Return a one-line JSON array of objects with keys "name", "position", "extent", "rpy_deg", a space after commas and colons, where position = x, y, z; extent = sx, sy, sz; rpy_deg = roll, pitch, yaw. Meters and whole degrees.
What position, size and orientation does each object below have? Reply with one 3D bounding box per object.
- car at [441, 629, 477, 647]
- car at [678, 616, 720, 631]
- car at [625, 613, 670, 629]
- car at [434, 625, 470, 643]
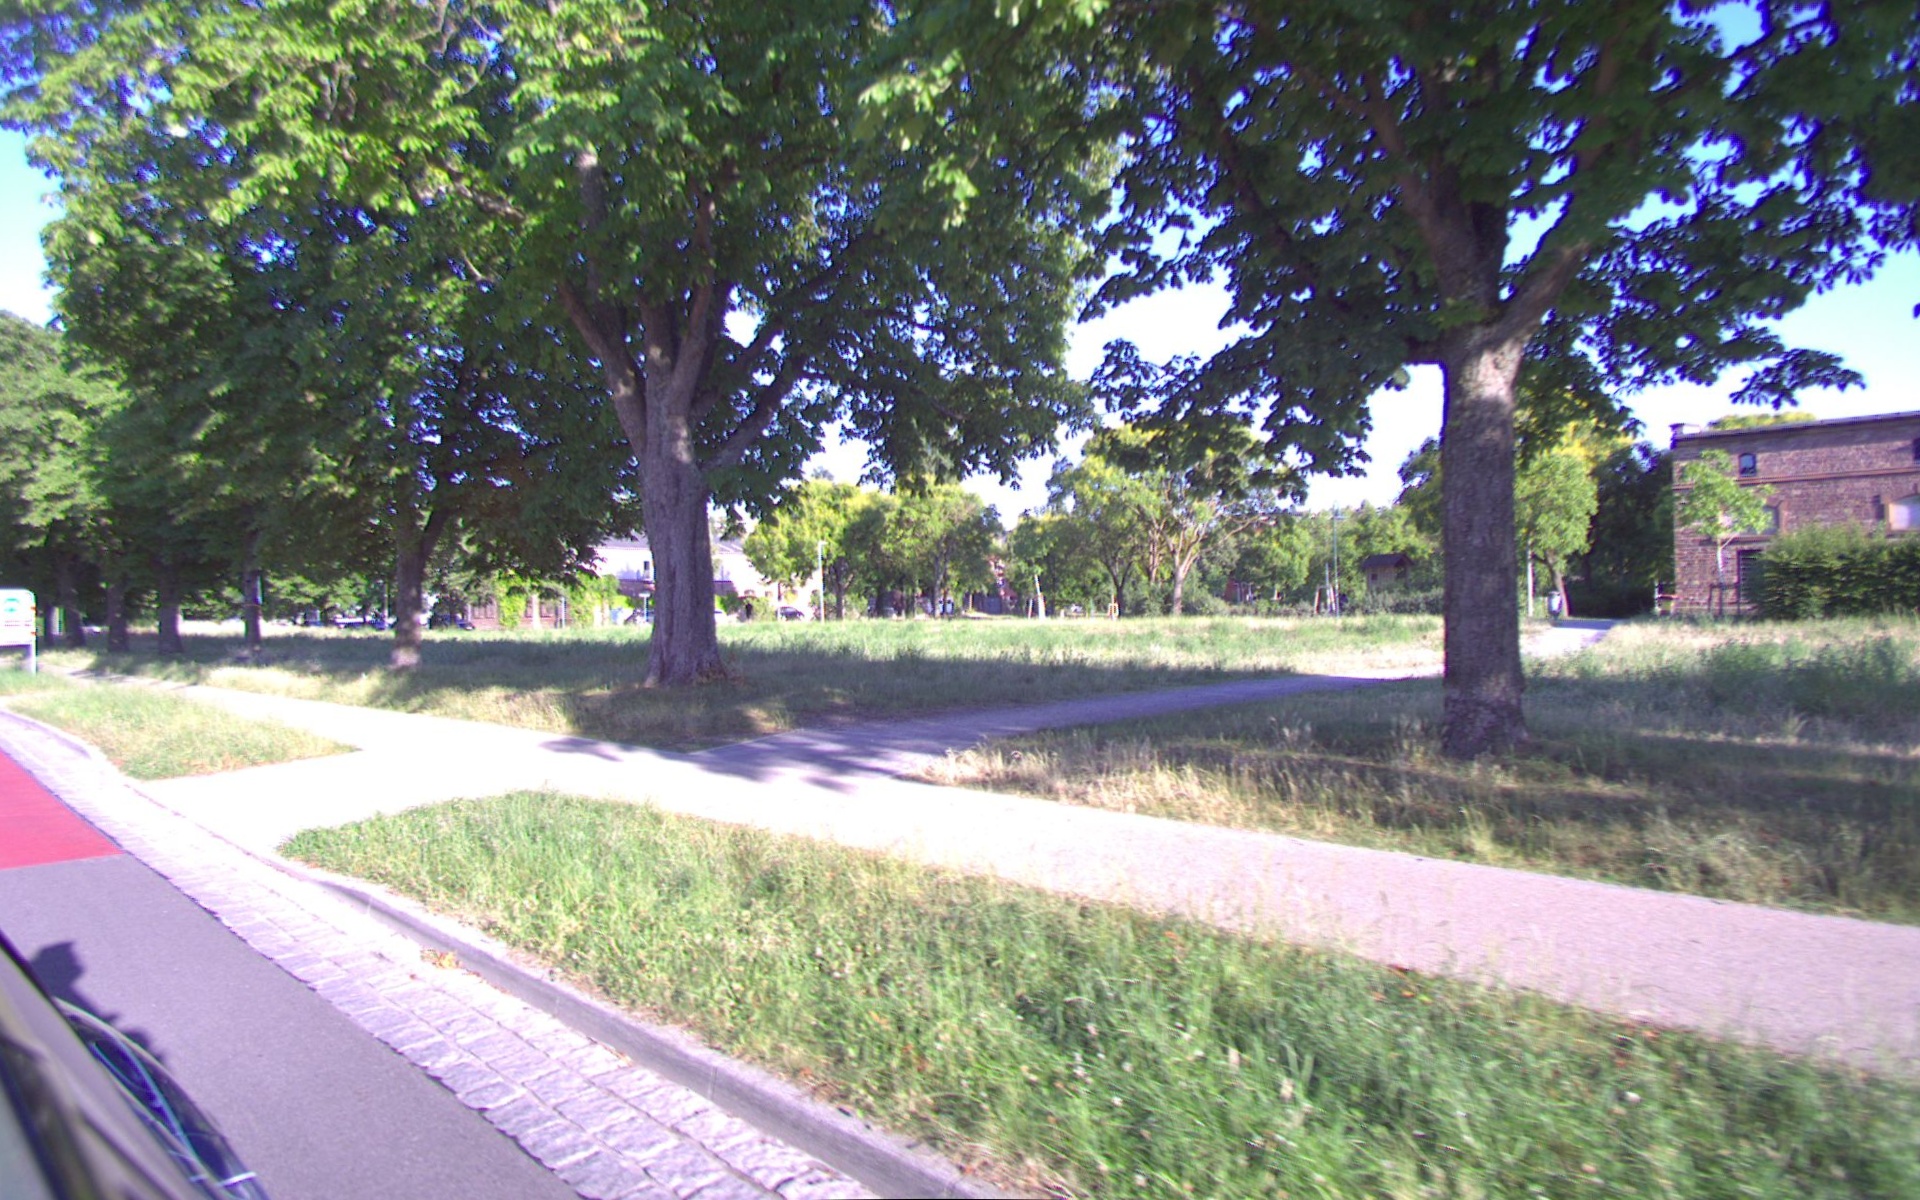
[{"name": "car", "position": [-49.163, 3.758, 99.224], "extent": [3.998, 1.641, 1.744], "rpy_deg": [-3, -1, 41]}, {"name": "car", "position": [-24.796, 2.243, 96.278], "extent": [1.586, 1.290, 3.589], "rpy_deg": [-2, 0, 42]}, {"name": "car", "position": [-28.357, 1.903, 91.870], "extent": [1.586, 1.290, 3.589], "rpy_deg": [-2, 0, 42]}, {"name": "car", "position": [-44.232, 2.930, 88.100], "extent": [3.639, 1.492, 1.564], "rpy_deg": [-2, 0, 42]}]
